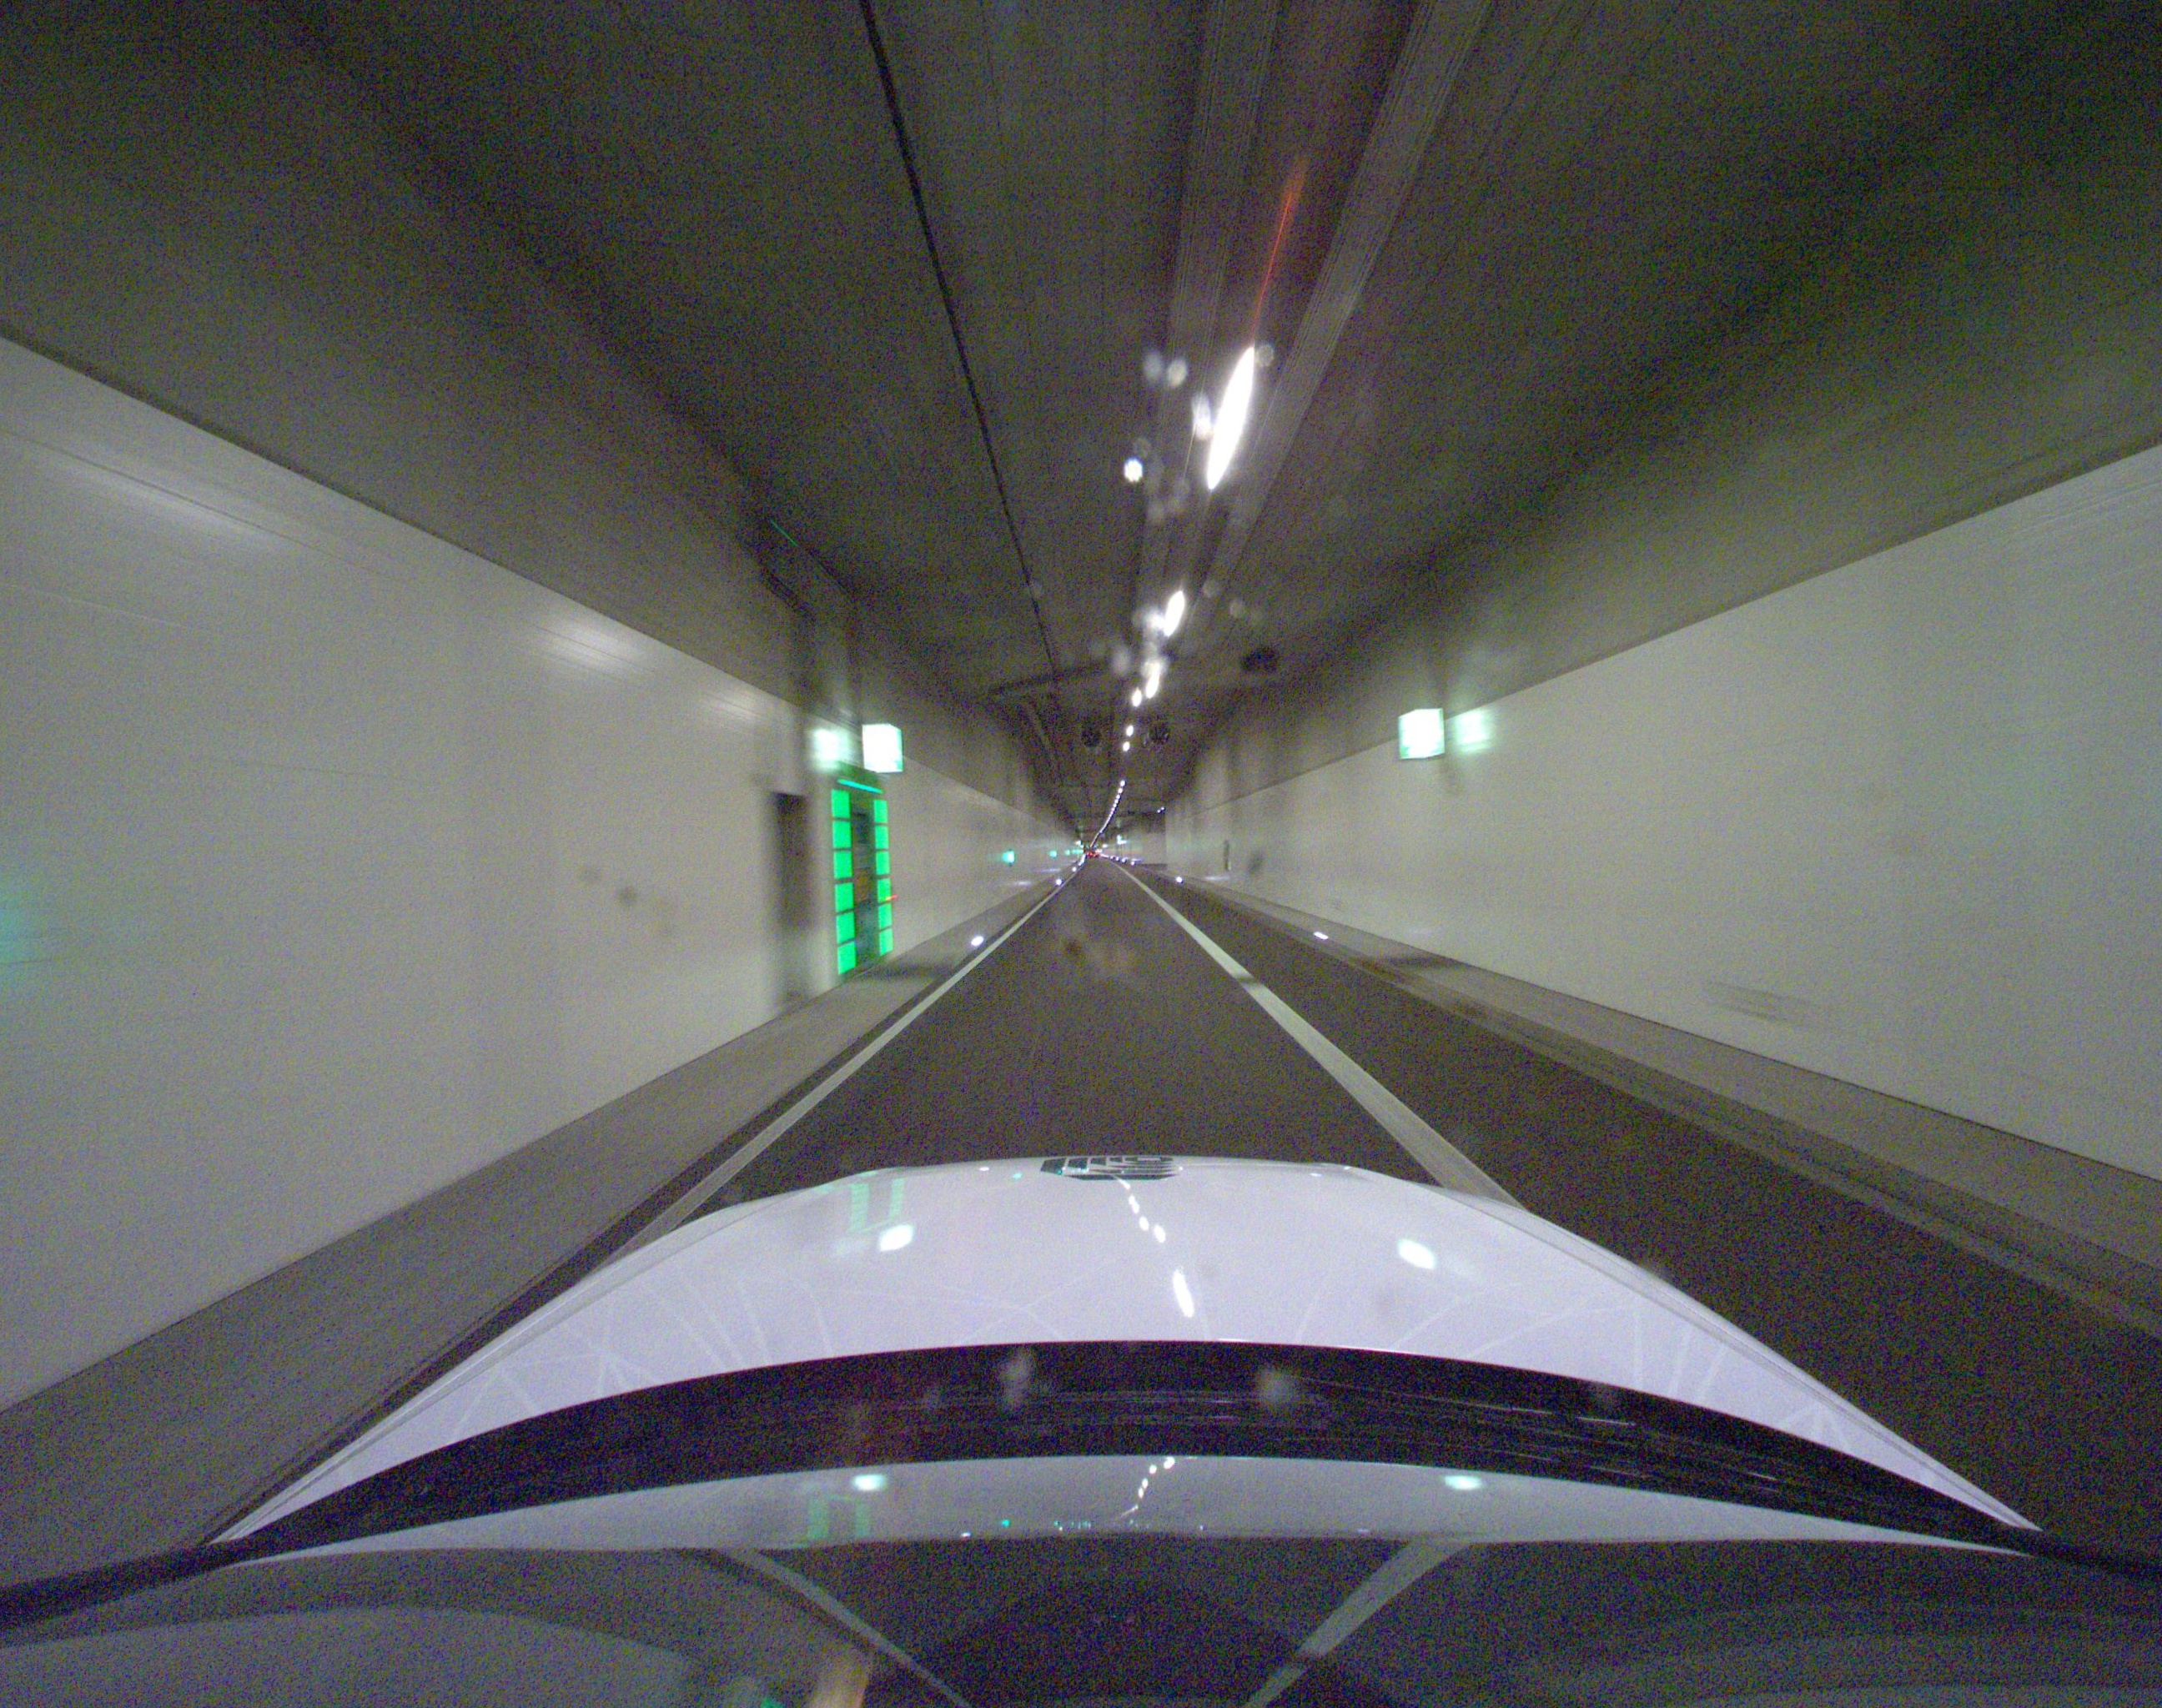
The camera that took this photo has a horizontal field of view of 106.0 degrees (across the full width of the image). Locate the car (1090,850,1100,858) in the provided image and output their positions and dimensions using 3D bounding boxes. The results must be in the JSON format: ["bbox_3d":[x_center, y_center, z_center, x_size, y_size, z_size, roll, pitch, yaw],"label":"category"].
[{"bbox_3d":[2.769,0.006,164.744,1.987,1.420,3.999,-1,0,0],"label":"car"}]
